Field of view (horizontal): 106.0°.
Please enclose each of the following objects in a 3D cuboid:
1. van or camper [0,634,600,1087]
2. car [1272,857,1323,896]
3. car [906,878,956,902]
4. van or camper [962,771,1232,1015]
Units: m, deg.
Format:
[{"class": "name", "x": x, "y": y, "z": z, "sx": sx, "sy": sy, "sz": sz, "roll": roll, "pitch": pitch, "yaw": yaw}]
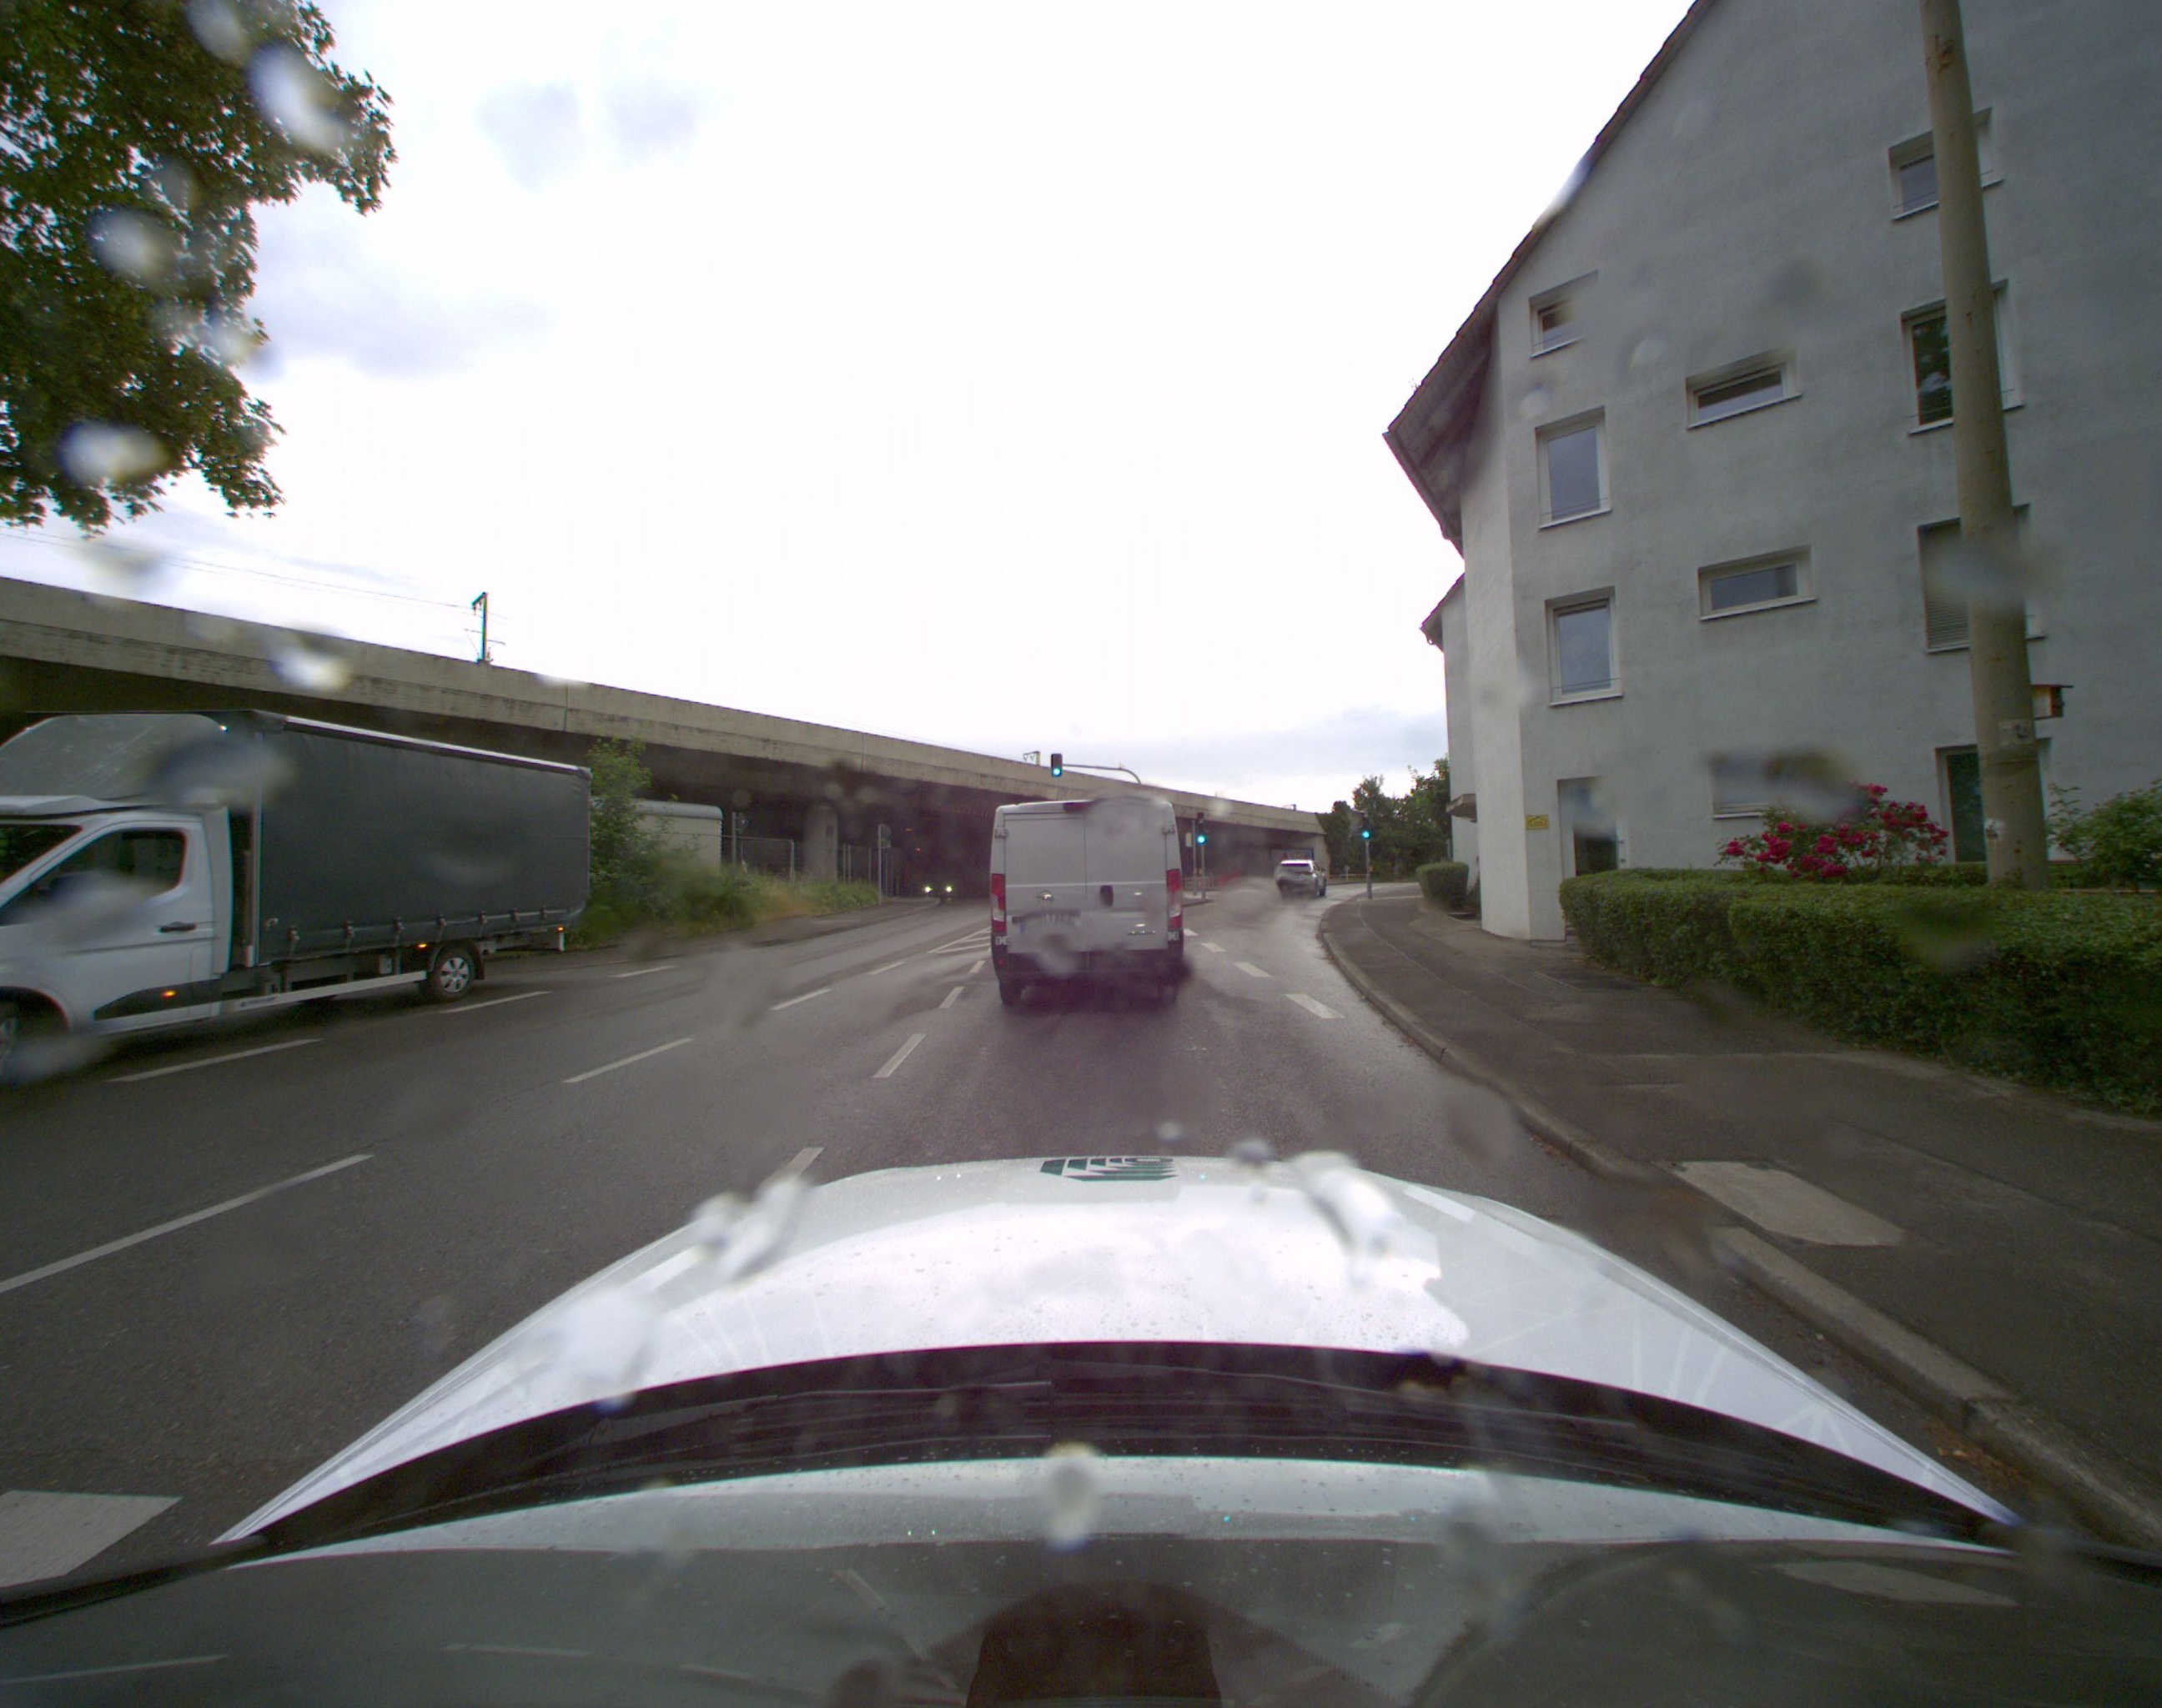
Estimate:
[{"class": "van or camper", "x": -9.178, "y": 0.118, "z": 9.141, "sx": 2.688, "sy": 3.335, "sz": 7.765, "roll": -1, "pitch": -1, "yaw": 2}, {"class": "car", "x": 9.115, "y": 0.910, "z": 34.094, "sx": 1.860, "sy": 1.530, "sz": 4.018, "roll": -1, "pitch": -1, "yaw": 17}, {"class": "car", "x": -10.419, "y": 2.465, "z": 56.444, "sx": 2.006, "sy": 1.530, "sz": 4.456, "roll": 0, "pitch": -1, "yaw": -30}, {"class": "van or camper", "x": 0.161, "y": 0.423, "z": 10.681, "sx": 2.690, "sy": 2.417, "sz": 4.902, "roll": -1, "pitch": -1, "yaw": 0}]
